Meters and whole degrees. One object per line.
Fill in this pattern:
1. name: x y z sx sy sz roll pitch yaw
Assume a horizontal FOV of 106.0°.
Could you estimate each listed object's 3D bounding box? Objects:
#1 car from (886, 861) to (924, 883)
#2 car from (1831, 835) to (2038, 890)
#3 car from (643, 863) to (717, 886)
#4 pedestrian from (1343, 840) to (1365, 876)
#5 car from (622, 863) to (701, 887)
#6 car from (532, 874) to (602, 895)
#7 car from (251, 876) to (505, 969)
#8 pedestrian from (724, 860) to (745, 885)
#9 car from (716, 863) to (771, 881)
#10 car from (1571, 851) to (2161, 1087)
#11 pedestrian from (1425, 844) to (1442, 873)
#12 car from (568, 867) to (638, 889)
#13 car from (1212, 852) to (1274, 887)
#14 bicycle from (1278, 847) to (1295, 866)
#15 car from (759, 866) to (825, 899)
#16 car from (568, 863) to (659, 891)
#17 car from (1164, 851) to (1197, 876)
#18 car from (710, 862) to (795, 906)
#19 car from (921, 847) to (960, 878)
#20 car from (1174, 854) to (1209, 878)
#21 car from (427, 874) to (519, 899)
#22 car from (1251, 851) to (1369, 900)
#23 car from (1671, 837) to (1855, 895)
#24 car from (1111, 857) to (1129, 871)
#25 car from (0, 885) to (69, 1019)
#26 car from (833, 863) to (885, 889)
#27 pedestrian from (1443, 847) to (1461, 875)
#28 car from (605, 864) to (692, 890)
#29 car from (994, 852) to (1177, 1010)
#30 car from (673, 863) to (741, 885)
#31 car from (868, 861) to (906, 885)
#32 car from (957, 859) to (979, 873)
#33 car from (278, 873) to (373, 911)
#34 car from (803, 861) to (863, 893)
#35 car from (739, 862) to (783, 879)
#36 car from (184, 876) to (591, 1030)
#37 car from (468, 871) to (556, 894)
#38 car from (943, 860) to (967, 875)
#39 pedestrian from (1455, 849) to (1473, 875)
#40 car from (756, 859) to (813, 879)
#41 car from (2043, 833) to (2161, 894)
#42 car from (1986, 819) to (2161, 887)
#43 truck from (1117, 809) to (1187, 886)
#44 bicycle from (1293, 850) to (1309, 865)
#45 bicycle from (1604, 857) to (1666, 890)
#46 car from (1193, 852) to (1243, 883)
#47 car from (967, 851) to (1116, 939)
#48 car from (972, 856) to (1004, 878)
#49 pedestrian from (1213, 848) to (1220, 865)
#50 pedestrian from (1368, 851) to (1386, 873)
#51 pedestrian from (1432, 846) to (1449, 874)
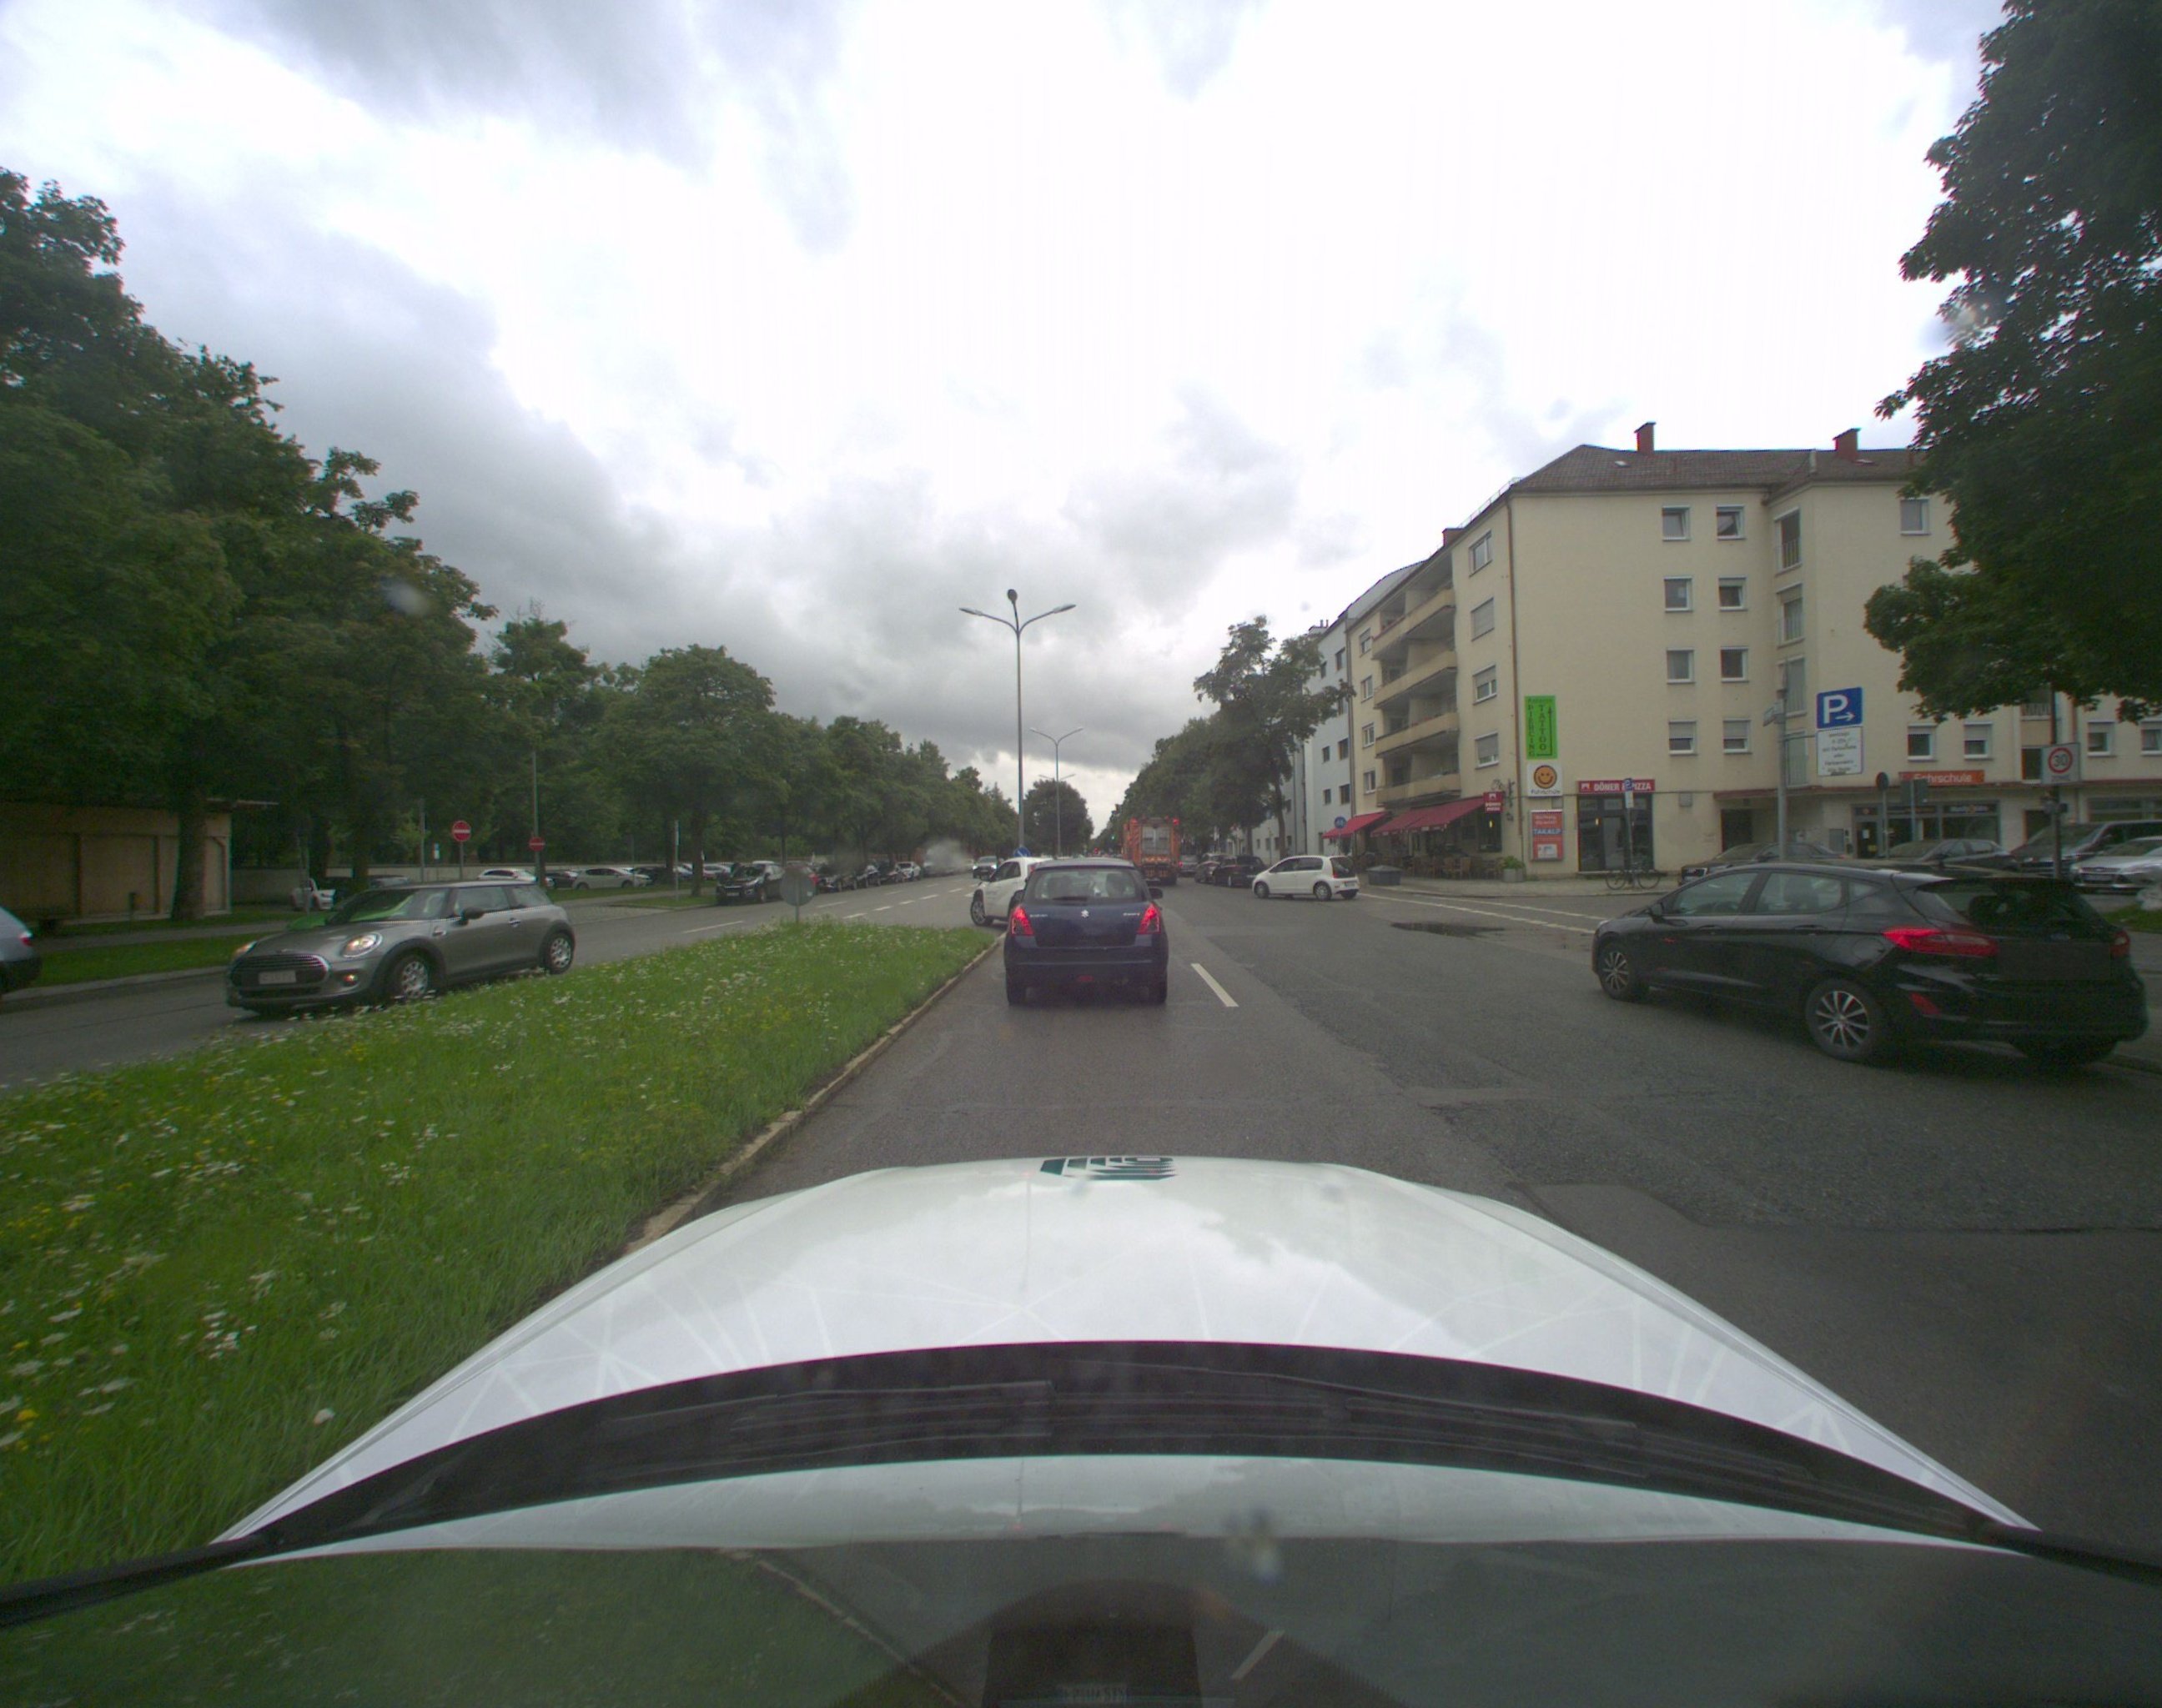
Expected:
1. car: -13.264 1.360 61.587 1.816 1.527 4.298 -3 -1 0
2. car: 24.755 0.233 23.727 3.975 1.442 1.999 -1 0 -1
3. car: -27.230 1.383 55.418 3.980 1.442 1.997 -1 0 -5
4. pedestrian: 15.174 0.219 45.228 0.870 1.929 0.757 -1 0 -15
5. car: -26.876 1.338 52.293 3.980 1.442 1.997 -1 0 -5
6. car: -37.706 2.244 59.817 3.967 1.372 1.881 -2 0 5
7. car: -14.311 1.317 16.935 1.634 1.499 4.002 -3 0 2
8. pedestrian: -20.853 1.112 49.026 0.791 1.495 0.857 -2 0 3
9. car: -29.466 1.559 71.261 3.980 1.442 1.997 -1 0 -5
10. car: 6.300 0.727 7.182 1.638 1.477 3.957 -1 0 1
11. pedestrian: 16.513 0.227 38.142 0.536 1.339 0.552 -1 0 0
12. car: -38.931 1.929 66.439 4.490 1.625 2.000 -1 0 0
13. car: 7.372 0.666 37.432 1.826 1.473 3.883 -1 0 -4
14. bicycle: 16.236 0.191 64.334 0.700 1.407 2.593 -4 0 1
15. car: -14.003 1.368 39.707 1.816 1.479 3.809 -1 -1 0
16. car: -26.665 1.292 46.528 3.980 1.442 1.997 -1 0 -5
17. car: 7.395 0.699 60.934 1.823 1.746 4.507 -1 0 0
18. car: -13.742 1.222 34.326 1.816 1.700 4.238 -1 -1 0
19. car: -12.958 0.704 75.600 2.132 2.643 7.107 -3 0 1
20. car: 7.444 0.777 55.339 1.823 1.522 3.770 -1 0 0
21. car: -39.447 2.099 52.874 4.486 1.442 2.002 -1 0 3
22. car: 7.550 0.684 27.062 1.701 1.490 3.394 -1 0 -41
23. car: 19.689 0.334 23.608 3.913 1.519 1.730 -1 0 -1
24. car: 4.369 1.110 92.478 1.823 1.522 3.770 -1 0 0
25. car: -14.398 1.270 8.578 1.815 1.631 4.457 -2 0 1
26. car: -13.570 1.308 49.965 1.814 1.409 4.003 -3 0 3
27. pedestrian: 16.403 0.316 36.015 0.536 1.214 0.487 -1 0 1
28. car: -26.244 1.380 49.528 4.123 1.442 1.999 -1 0 -2
29. car: 0.106 0.749 9.915 1.746 1.505 4.002 -1 0 2
30. car: -27.045 1.420 58.961 3.980 1.442 1.997 -1 0 -5
31. car: -13.416 1.295 56.421 1.817 1.447 3.995 -3 0 -3
32. car: -12.632 1.350 90.948 1.851 1.491 4.141 -1 -1 0
33. car: -31.188 1.547 33.599 3.809 1.409 1.871 -1 0 31
34. car: -13.473 1.207 44.422 1.814 1.599 4.115 -2 0 2
35. car: -38.849 1.988 99.011 4.490 2.034 2.000 -1 0 0
36. car: -8.355 1.084 10.346 1.710 1.382 3.771 -4 0 4
37. car: -38.532 1.907 55.187 4.490 1.442 2.000 -1 0 0
38. car: -12.918 1.417 83.747 1.851 1.491 4.251 -1 -1 0
39. pedestrian: 16.206 0.342 34.454 0.536 1.054 0.487 -1 0 1
40. car: -24.859 1.227 68.342 3.971 1.570 1.816 -2 0 2
41. car: 27.587 0.189 20.578 4.195 1.442 2.000 -1 0 0
42. car: 30.493 -0.059 24.235 4.969 1.885 1.999 -1 0 -1
43. truck: 3.623 -0.299 44.769 3.030 3.557 13.680 -1 0 2
44. bicycle: 16.264 0.258 60.177 0.619 1.046 2.196 -1 0 1
45. bicycle: 17.475 0.618 25.721 1.532 1.011 0.554 -1 0 4
46. car: 7.085 0.681 42.599 1.823 1.522 4.522 -1 0 0
47. car: -0.924 0.751 16.774 1.830 1.553 3.691 -1 0 -24
48. car: -7.083 0.976 62.636 1.815 1.589 4.502 -1 0 1
49. pedestrian: 13.963 0.291 84.074 0.498 1.733 0.733 -3 0 1
50. pedestrian: 15.978 0.429 43.966 0.741 1.163 0.647 -1 0 0
51. pedestrian: 16.350 0.257 37.002 0.536 1.268 0.487 -1 0 0
